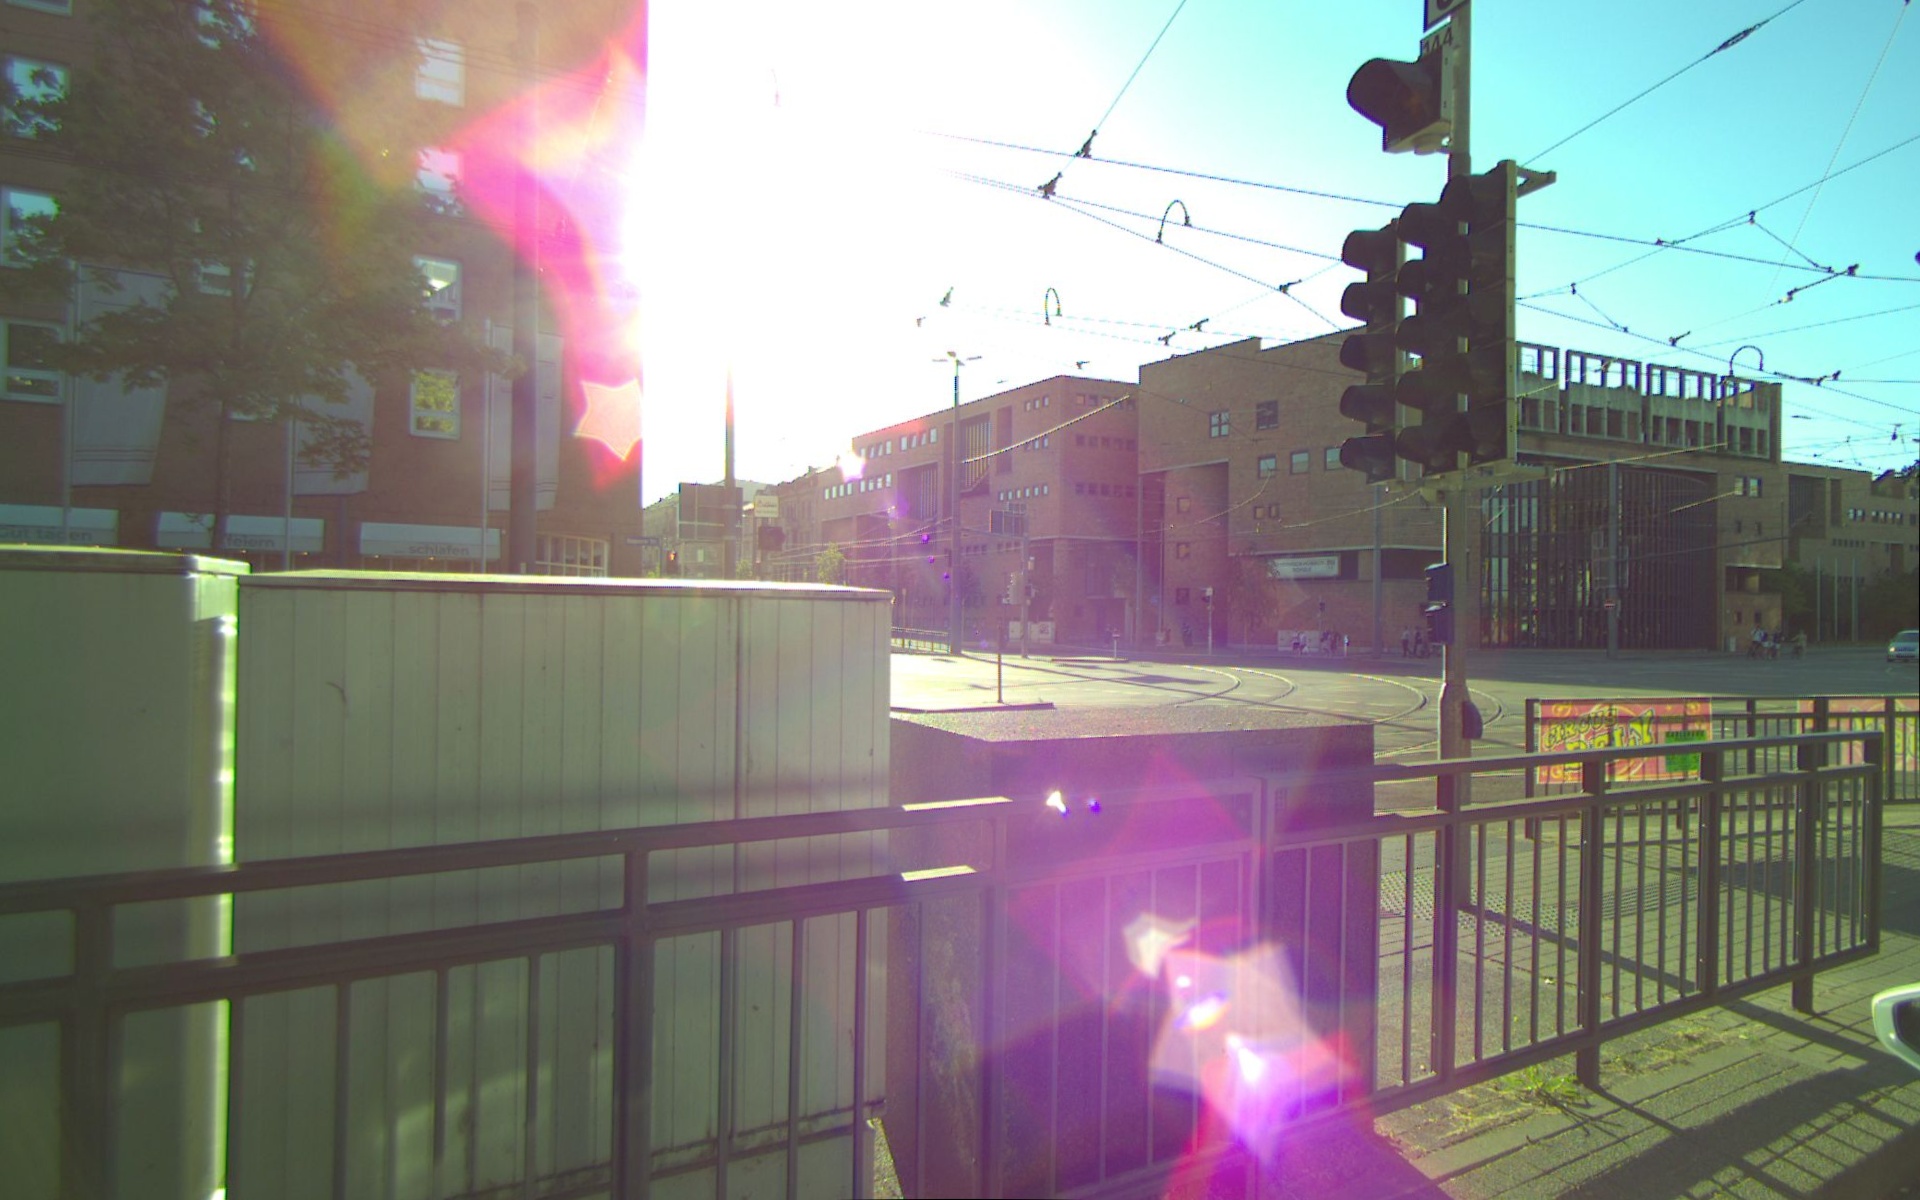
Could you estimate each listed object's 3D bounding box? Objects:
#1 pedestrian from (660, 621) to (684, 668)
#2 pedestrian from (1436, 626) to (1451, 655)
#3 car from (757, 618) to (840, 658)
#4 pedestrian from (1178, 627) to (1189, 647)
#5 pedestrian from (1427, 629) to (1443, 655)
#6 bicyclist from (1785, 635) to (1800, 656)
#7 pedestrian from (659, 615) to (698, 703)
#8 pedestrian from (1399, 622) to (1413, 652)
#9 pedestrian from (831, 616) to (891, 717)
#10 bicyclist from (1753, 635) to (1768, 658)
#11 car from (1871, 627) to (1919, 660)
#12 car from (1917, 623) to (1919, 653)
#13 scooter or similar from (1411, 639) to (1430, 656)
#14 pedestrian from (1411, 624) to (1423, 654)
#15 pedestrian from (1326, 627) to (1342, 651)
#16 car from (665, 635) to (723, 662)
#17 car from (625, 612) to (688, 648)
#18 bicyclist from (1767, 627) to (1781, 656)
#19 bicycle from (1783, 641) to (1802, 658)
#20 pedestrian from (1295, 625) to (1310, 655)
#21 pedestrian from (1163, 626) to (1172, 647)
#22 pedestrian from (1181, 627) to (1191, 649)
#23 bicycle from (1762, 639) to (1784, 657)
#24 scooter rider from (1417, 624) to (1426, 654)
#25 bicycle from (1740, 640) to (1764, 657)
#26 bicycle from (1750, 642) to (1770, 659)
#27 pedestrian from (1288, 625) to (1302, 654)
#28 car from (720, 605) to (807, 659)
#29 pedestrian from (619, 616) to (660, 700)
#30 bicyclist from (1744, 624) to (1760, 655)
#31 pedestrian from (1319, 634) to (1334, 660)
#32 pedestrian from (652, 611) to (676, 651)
[{"bbox_3d":[-10.482,1.609,36.524,0.658,1.669,0.638,1,-1,-34],"label":"pedestrian"},{"bbox_3d":[27.859,2.320,57.877,0.605,1.647,0.613,0,-1,10],"label":"pedestrian"},{"bbox_3d":[-8.365,1.908,51.743,1.982,1.928,5.156,1,-2,-38],"label":"car"},{"bbox_3d":[16.050,2.632,72.195,0.548,1.445,0.557,-1,-2,43],"label":"pedestrian"},{"bbox_3d":[26.981,2.395,57.099,0.588,1.440,0.642,0,-1,-3],"label":"pedestrian"},{"bbox_3d":[49.352,2.703,59.551,0.574,1.194,0.503,1,-1,-30],"label":"bicyclist"},{"bbox_3d":[-6.141,1.273,21.922,0.647,1.864,0.835,1,-1,-28],"label":"pedestrian"},{"bbox_3d":[25.462,2.133,57.363,0.609,1.706,0.651,0,-1,8],"label":"pedestrian"},{"bbox_3d":[-1.714,1.120,17.310,0.709,1.669,0.953,1,-1,-30],"label":"pedestrian"},{"bbox_3d":[46.753,2.709,58.653,0.574,1.321,0.503,1,-1,-30],"label":"bicyclist"},{"bbox_3d":[48.989,2.222,51.780,3.954,1.661,1.984,1,-2,-31],"label":"car"},{"bbox_3d":[55.259,2.109,55.894,3.954,1.661,1.984,1,-2,-31],"label":"car"},{"bbox_3d":[25.385,2.637,55.375,0.931,0.911,0.176,0,-1,14],"label":"scooter or similar"},{"bbox_3d":[25.629,2.191,56.328,0.540,1.706,0.592,0,-1,21],"label":"pedestrian"},{"bbox_3d":[20.994,2.183,56.380,0.670,1.357,0.603,1,-1,-14],"label":"pedestrian"},{"bbox_3d":[-14.352,2.592,54.014,1.729,1.372,3.960,1,-2,-36],"label":"car"},{"bbox_3d":[-18.521,1.804,61.197,1.982,2.122,5.156,1,-2,-38],"label":"car"},{"bbox_3d":[45.097,2.299,55.654,0.574,1.624,0.456,1,-1,-30],"label":"bicyclist"},{"bbox_3d":[49.341,2.930,59.543,1.332,0.976,0.449,1,-1,-30],"label":"bicycle"},{"bbox_3d":[19.285,2.249,56.583,0.541,1.670,0.598,1,-1,-21],"label":"pedestrian"},{"bbox_3d":[14.927,2.618,72.268,0.523,1.482,0.591,0,-1,1],"label":"pedestrian"},{"bbox_3d":[15.743,2.628,69.919,0.463,1.482,0.505,1,-1,-37],"label":"pedestrian"},{"bbox_3d":[45.109,2.680,55.729,1.557,0.976,0.470,1,-1,-30],"label":"bicycle"},{"bbox_3d":[25.435,2.160,55.381,0.429,1.669,0.229,0,-1,15],"label":"scooter rider"},{"bbox_3d":[44.444,2.716,56.352,1.568,0.976,0.539,1,-1,-30],"label":"bicycle"},{"bbox_3d":[46.669,2.952,58.596,1.304,0.976,0.465,1,-1,-30],"label":"bicycle"},{"bbox_3d":[19.221,2.246,57.629,0.578,1.635,0.597,1,-1,-9],"label":"pedestrian"},{"bbox_3d":[-9.431,1.517,47.932,1.982,2.419,5.156,1,-2,-38],"label":"car"},{"bbox_3d":[-7.173,1.277,22.467,0.713,1.837,0.904,1,-1,-28],"label":"pedestrian"},{"bbox_3d":[44.431,2.201,56.351,0.574,1.754,0.534,1,-1,-30],"label":"bicyclist"},{"bbox_3d":[20.950,2.661,57.462,0.604,1.473,0.568,1,-1,-15],"label":"pedestrian"},{"bbox_3d":[-15.267,1.602,51.801,0.856,2.040,0.880,2,0,-39],"label":"pedestrian"}]
